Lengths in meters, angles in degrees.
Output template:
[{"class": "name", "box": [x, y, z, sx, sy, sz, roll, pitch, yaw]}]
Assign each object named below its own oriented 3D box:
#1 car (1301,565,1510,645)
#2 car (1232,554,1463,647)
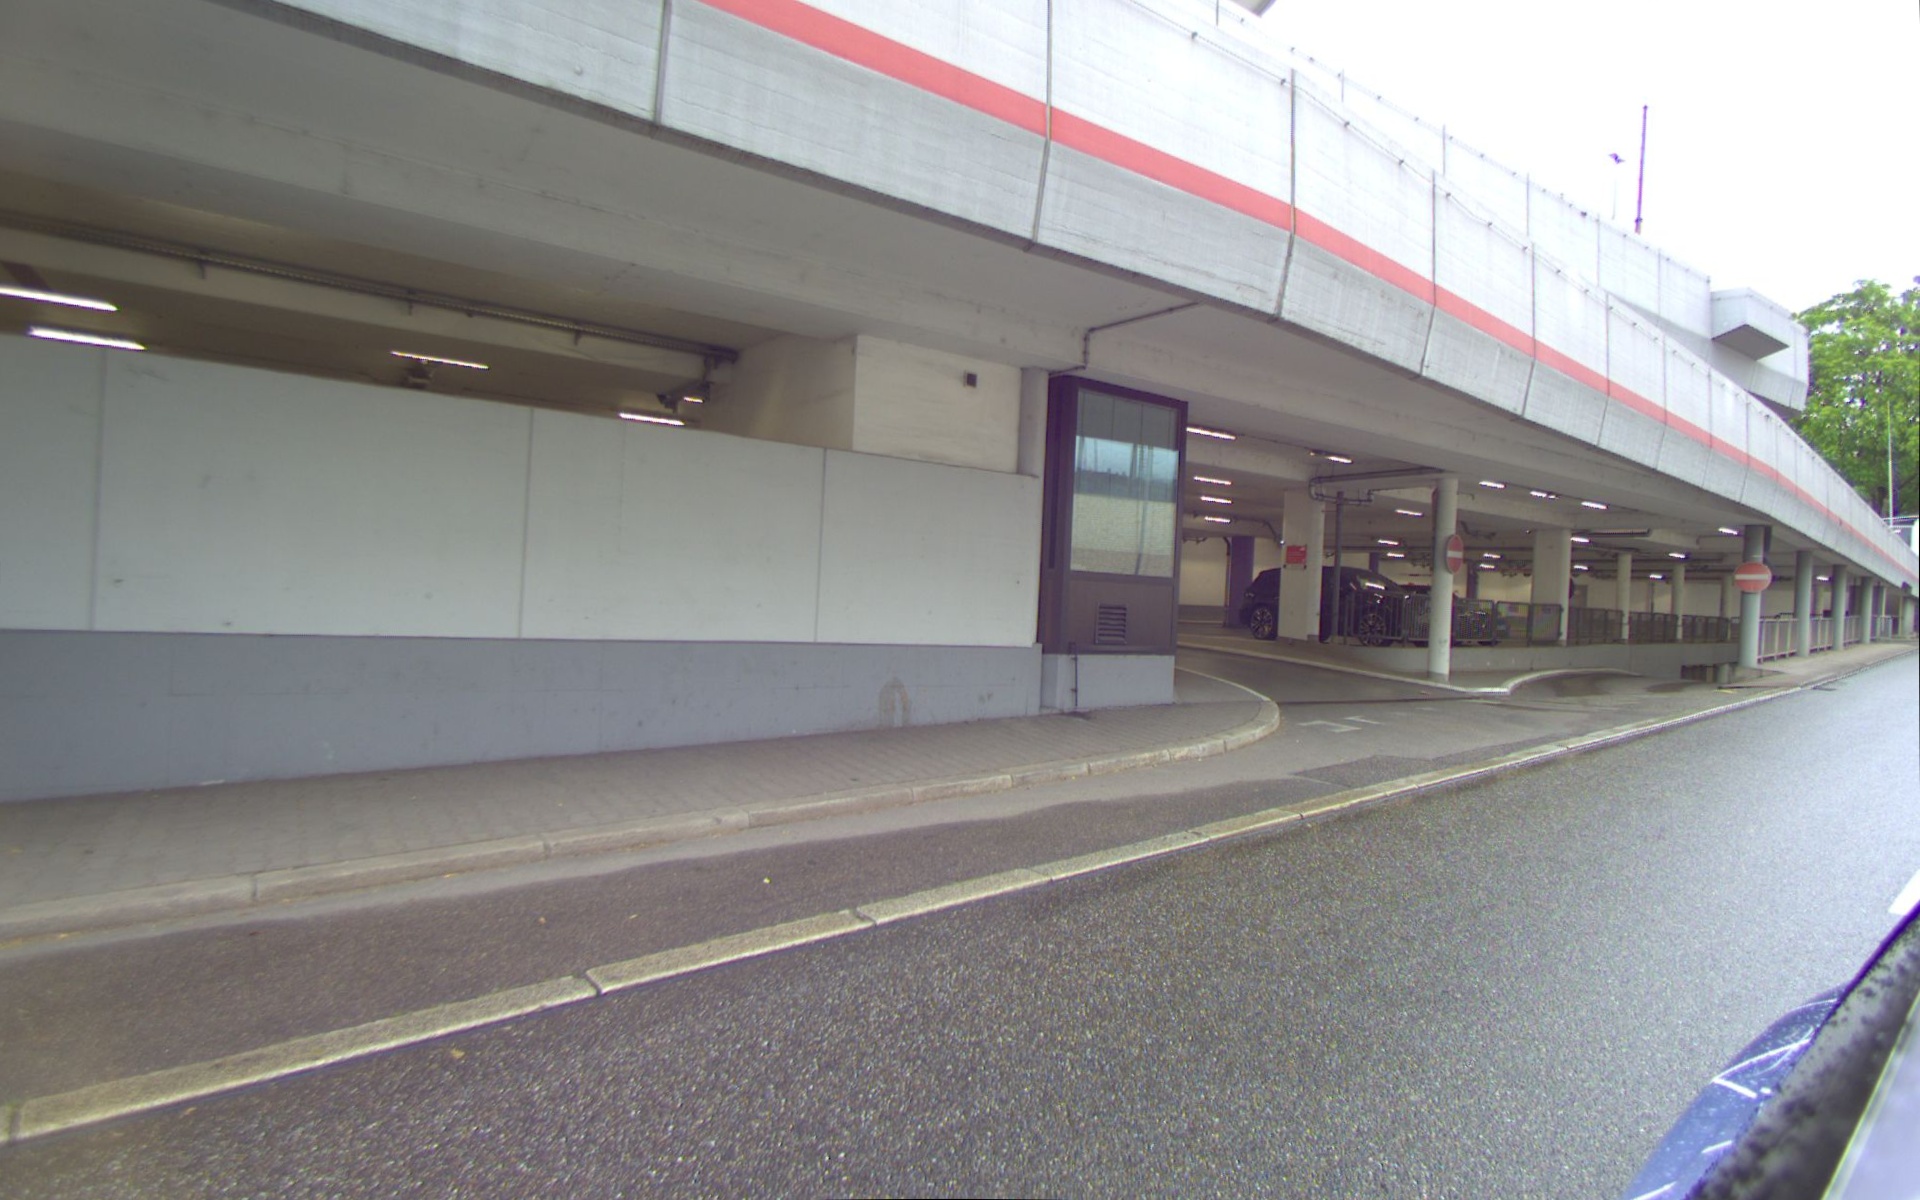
[{"class": "car", "box": [10.761, 0.094, 24.752, 1.960, 1.682, 4.261, 5, -2, -31]}, {"class": "car", "box": [8.162, -0.014, 21.711, 1.960, 1.682, 4.261, 5, -2, -31]}]
